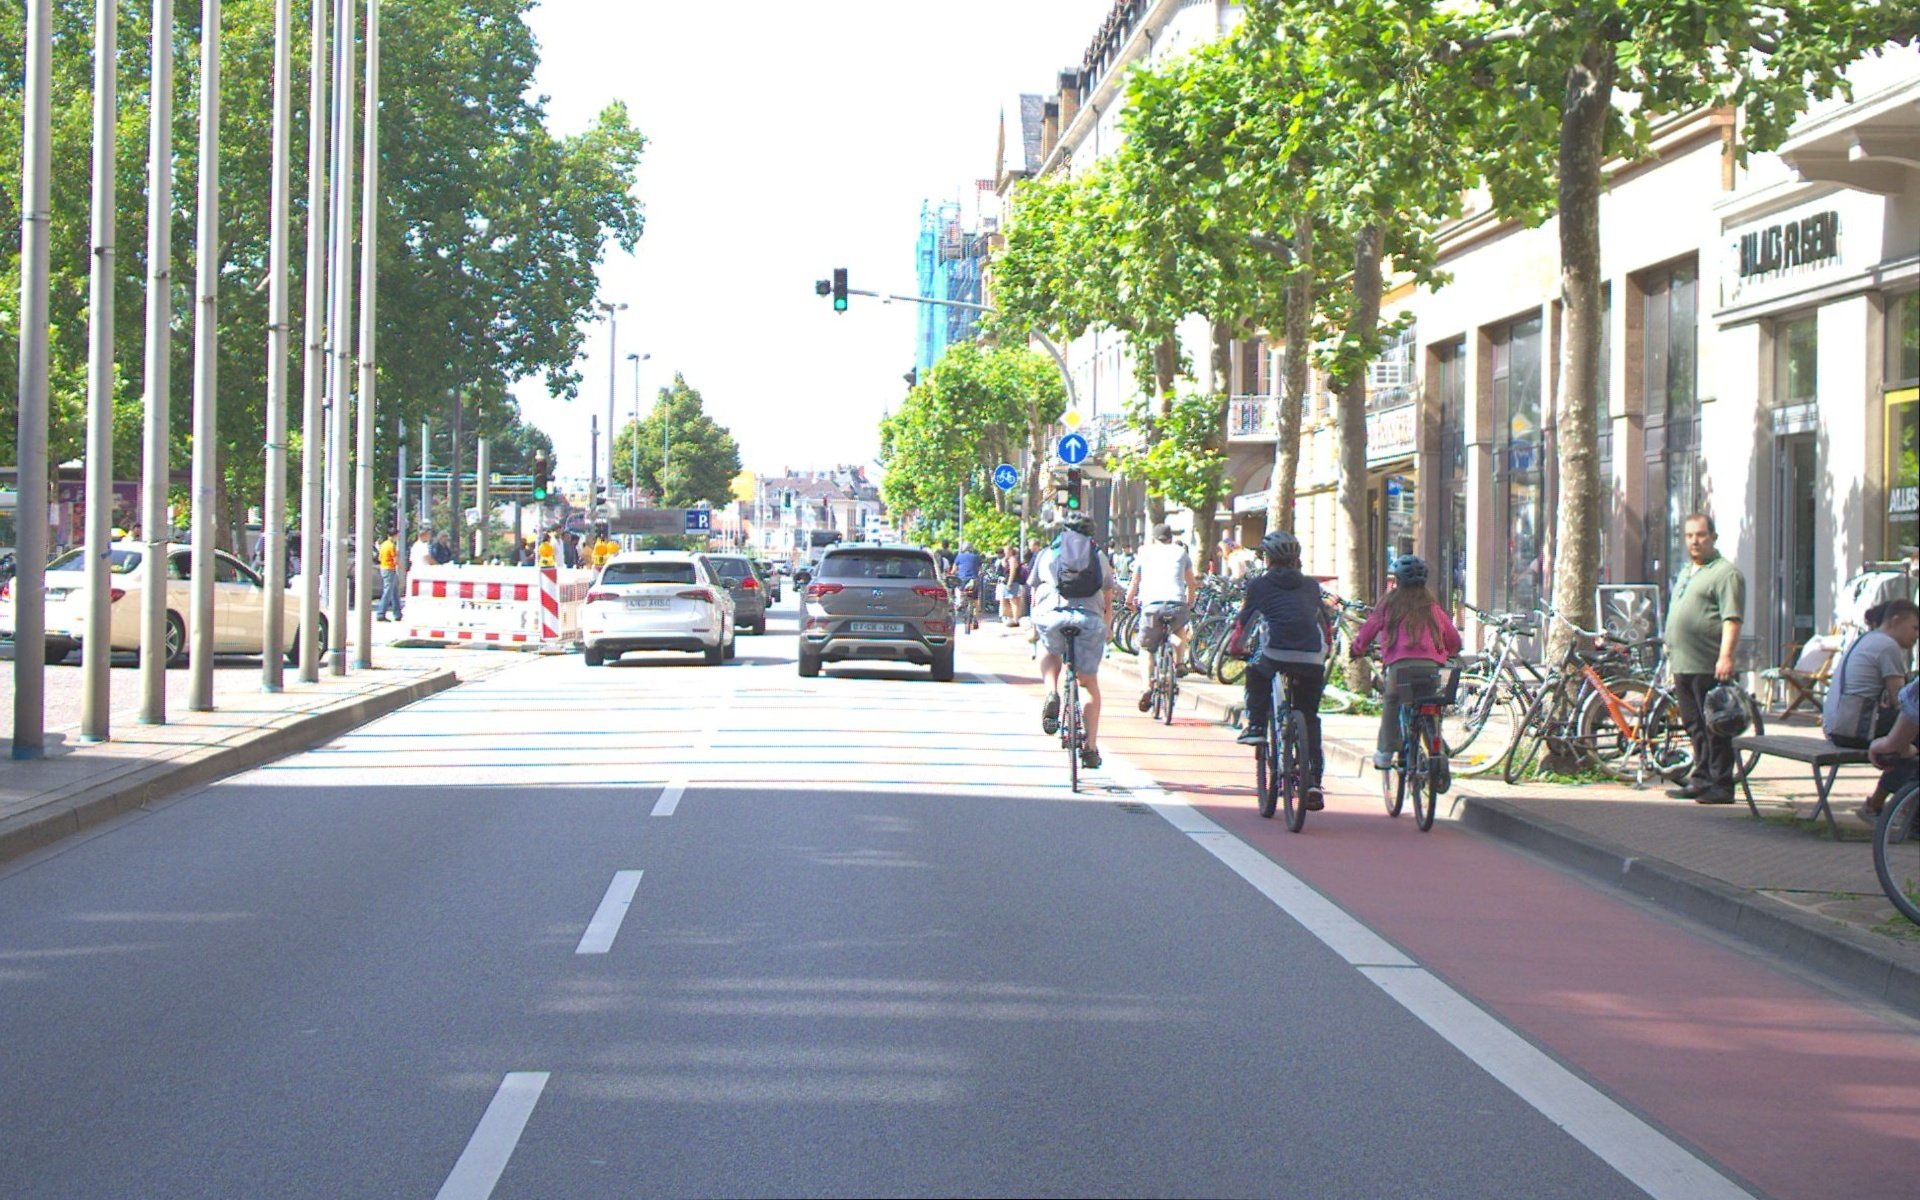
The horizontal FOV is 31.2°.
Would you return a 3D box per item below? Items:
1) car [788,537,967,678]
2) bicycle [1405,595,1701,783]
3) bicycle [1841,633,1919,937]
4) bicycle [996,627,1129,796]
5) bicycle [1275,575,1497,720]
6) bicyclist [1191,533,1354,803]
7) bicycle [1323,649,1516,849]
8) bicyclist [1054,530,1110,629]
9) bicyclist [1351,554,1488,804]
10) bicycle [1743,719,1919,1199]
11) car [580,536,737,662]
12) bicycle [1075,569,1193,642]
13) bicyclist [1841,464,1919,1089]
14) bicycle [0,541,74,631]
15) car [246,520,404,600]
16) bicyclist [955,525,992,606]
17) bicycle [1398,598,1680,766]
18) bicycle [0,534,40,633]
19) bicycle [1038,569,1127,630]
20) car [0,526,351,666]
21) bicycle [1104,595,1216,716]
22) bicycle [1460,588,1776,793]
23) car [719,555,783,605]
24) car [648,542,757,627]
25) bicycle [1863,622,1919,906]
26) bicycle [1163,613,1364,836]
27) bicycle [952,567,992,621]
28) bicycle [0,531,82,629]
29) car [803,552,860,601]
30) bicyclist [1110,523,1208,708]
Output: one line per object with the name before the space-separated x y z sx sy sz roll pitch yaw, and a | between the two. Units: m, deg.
car | -1.009 0.045 40.131 1.845 1.554 4.001 0 1 -5
bicycle | 3.865 0.572 22.469 1.840 1.123 0.497 3 0 9
bicycle | 4.436 0.750 13.393 1.839 1.123 0.497 3 2 -10
bicycle | 0.616 0.667 21.389 0.630 0.976 2.089 1 0 -3
bicycle | 3.731 0.412 30.233 1.840 1.182 0.670 3 0 3
bicyclist | 1.719 0.362 19.026 0.698 1.436 0.791 2 0 -6
bicycle | 2.564 0.810 19.384 0.600 0.922 2.088 0 3 -6
bicyclist | 2.226 -0.381 62.841 0.573 1.791 0.857 -2 1 -37
bicyclist | 2.579 0.432 19.361 0.600 1.353 0.721 0 3 -6
bicycle | 2.550 0.905 8.095 0.698 1.123 2.082 2 1 -6
car | -3.883 -0.049 44.777 1.845 1.554 4.001 0 1 -2
bicycle | 2.717 0.085 53.805 1.781 1.118 0.563 0 1 -5
bicyclist | 2.580 0.418 7.955 0.698 1.441 0.961 2 0 -6
bicycle | -13.195 -0.201 47.387 1.781 1.211 0.663 1 1 -5
car | -16.200 -1.008 87.944 1.861 1.948 4.756 1 0 19
bicyclist | 0.259 -0.663 66.259 0.647 1.545 0.817 1 1 -3
bicycle | 4.047 0.564 24.132 1.840 1.093 0.794 2 1 3
bicycle | -13.293 -0.242 45.993 1.781 1.304 0.663 1 1 -5
bicycle | 2.233 -0.013 62.853 0.600 1.078 1.839 -2 1 -37
car | -9.526 -0.061 41.263 1.894 1.536 4.855 2 1 25
bicycle | 1.784 0.479 30.999 0.774 1.002 2.330 1 1 -2
bicycle | 4.078 0.550 21.410 1.840 1.193 0.673 2 1 5
car | -6.208 -0.604 102.431 1.845 1.409 4.001 1 1 -3
car | -4.535 -0.293 60.984 1.845 1.444 4.001 0 1 -3
bicycle | 4.842 0.718 15.074 1.774 1.193 0.578 1 1 -30
bicycle | 1.676 0.667 19.313 0.698 1.123 2.082 2 1 -6
bicycle | 0.231 -0.131 66.396 0.647 0.994 2.031 1 1 -3
bicycle | -13.618 -0.303 49.392 1.781 1.343 0.741 3 1 -5
car | -4.728 -0.883 126.497 1.845 1.662 4.001 2 1 -5
bicyclist | 1.786 0.131 30.976 0.774 1.629 0.851 1 1 -2
